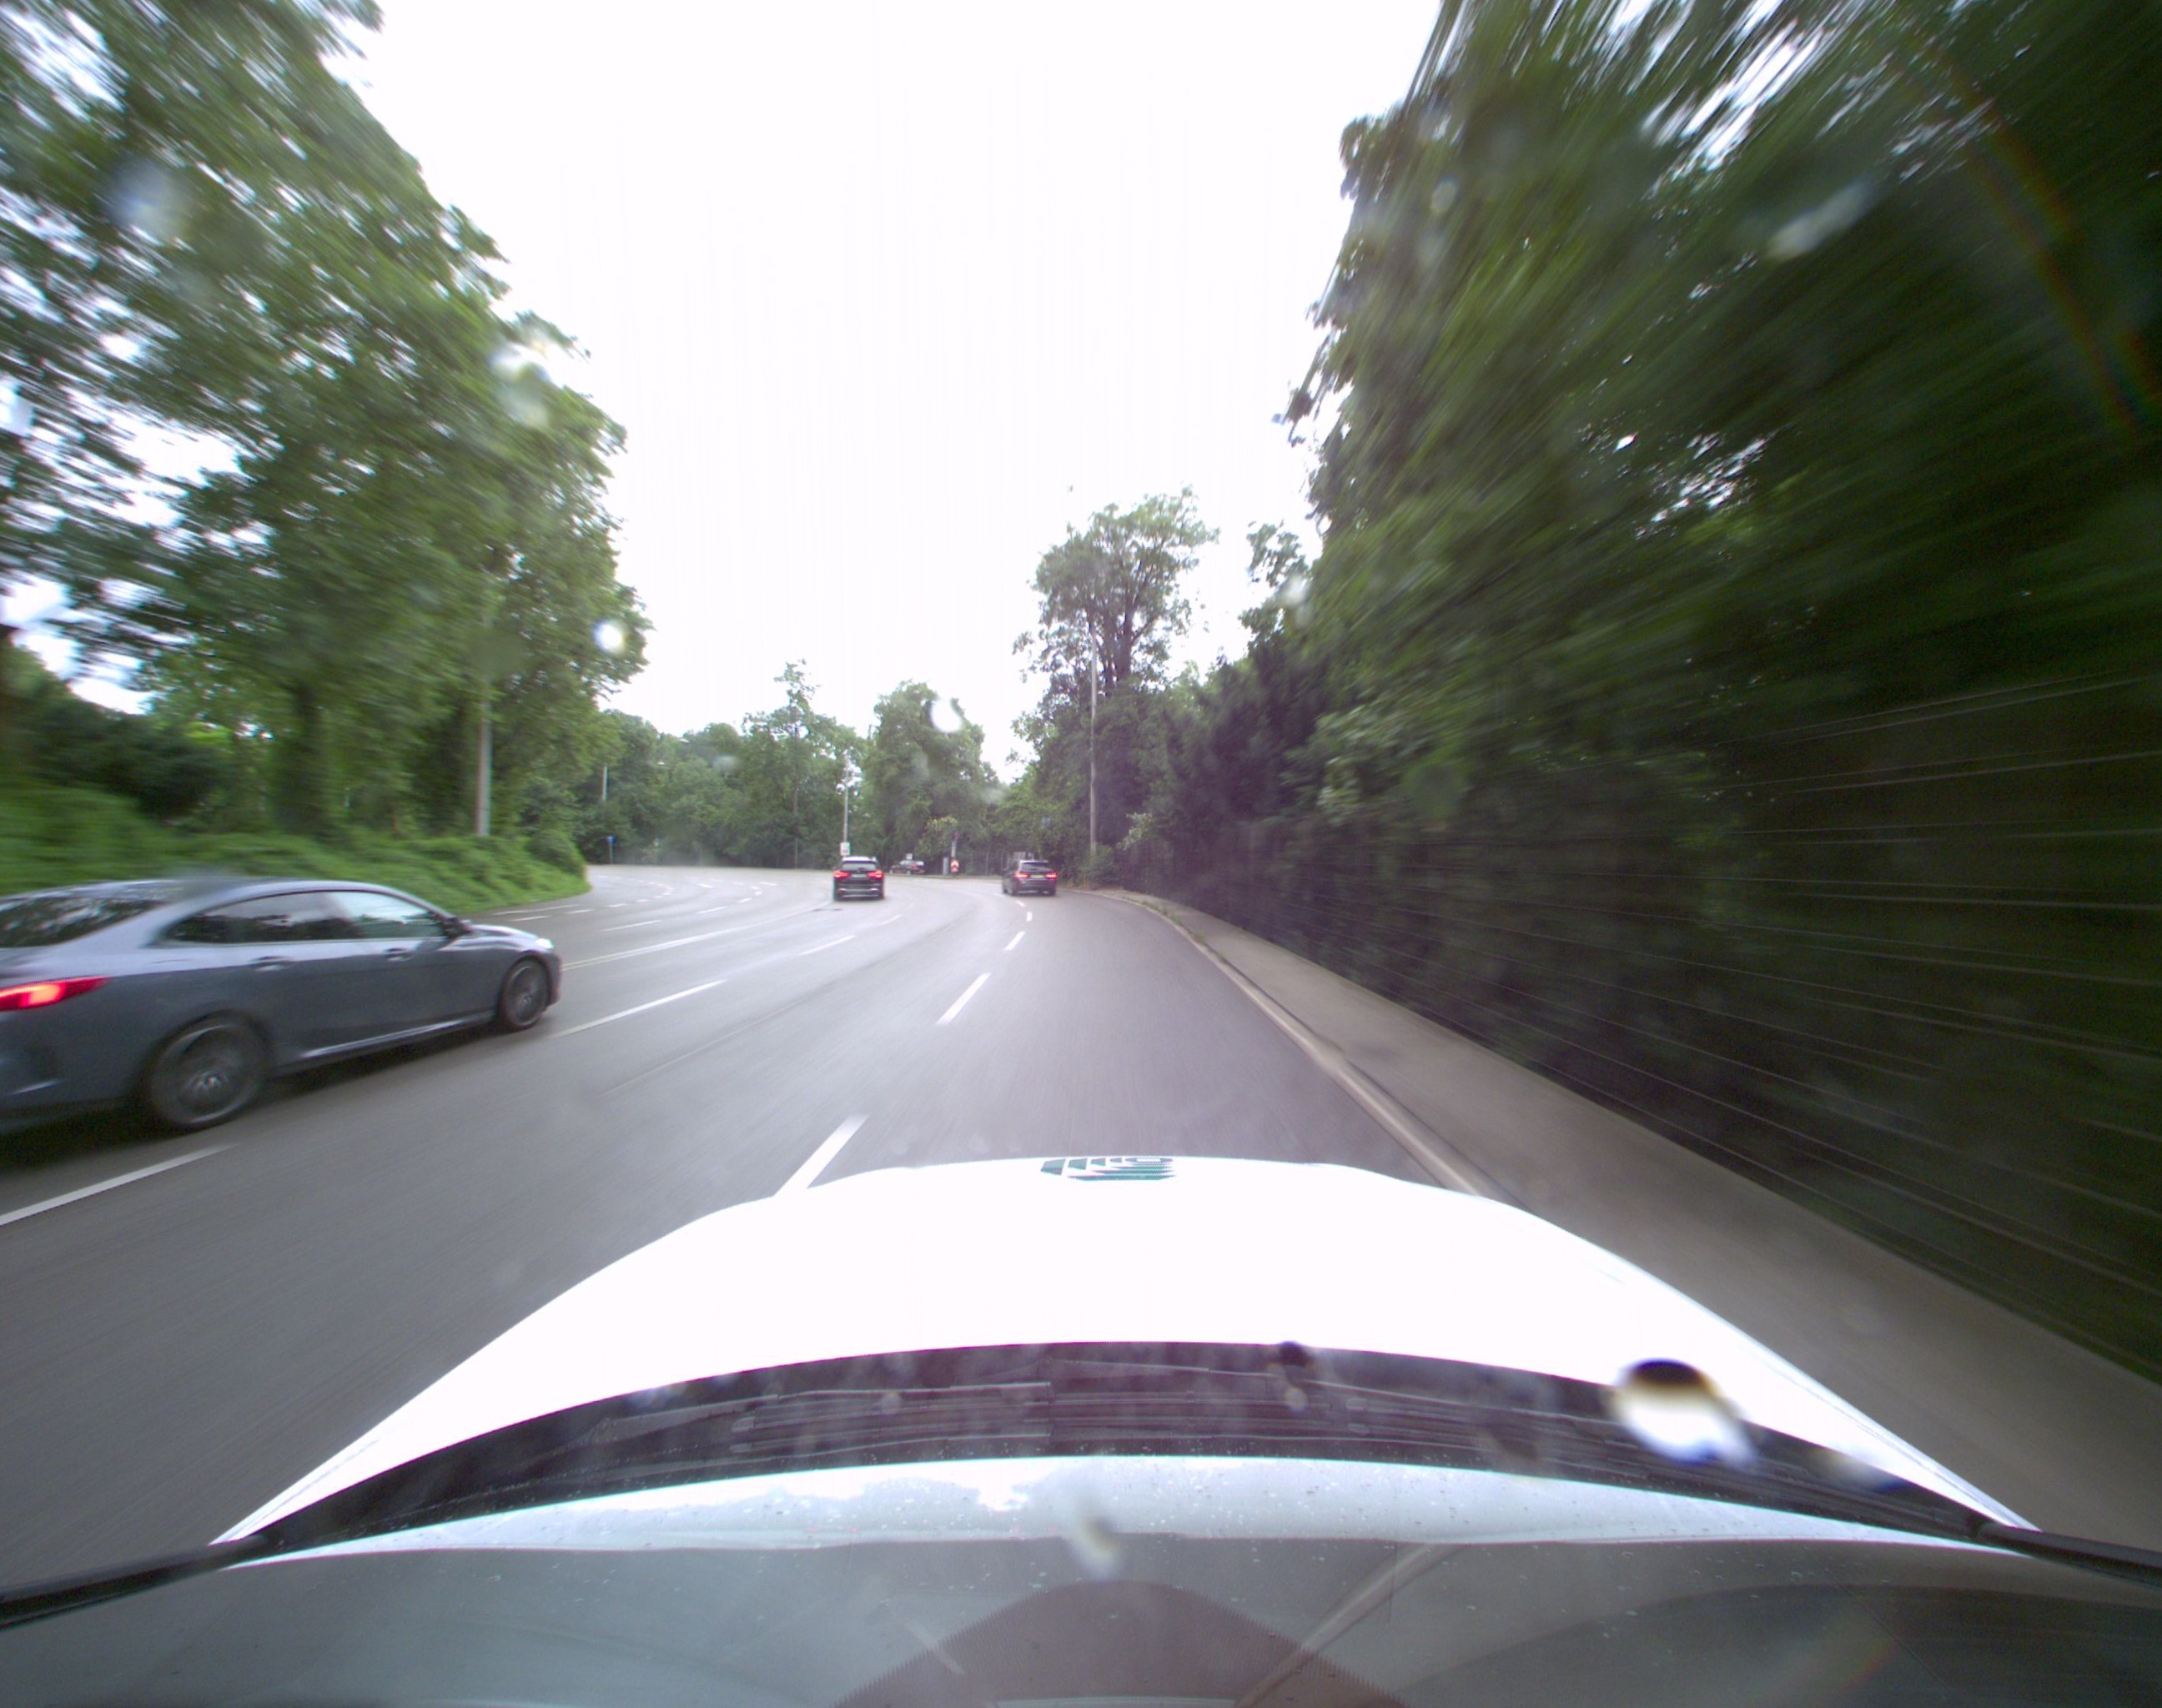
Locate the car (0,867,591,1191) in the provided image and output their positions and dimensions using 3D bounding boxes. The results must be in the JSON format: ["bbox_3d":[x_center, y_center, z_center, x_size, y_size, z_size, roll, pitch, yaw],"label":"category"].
[{"bbox_3d":[-5.750,0.836,5.840,1.659,1.415,4.540,0,0,1],"label":"car"}]

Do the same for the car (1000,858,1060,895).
[{"bbox_3d":[-2.196,0.880,33.867,1.759,1.432,4.392,-1,0,-13],"label":"car"}]

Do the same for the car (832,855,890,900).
[{"bbox_3d":[-8.520,0.848,31.866,1.758,1.586,4.397,2,0,-10],"label":"car"}]

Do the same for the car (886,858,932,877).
[{"bbox_3d":[-14.965,1.166,70.807,4.316,1.427,1.702,1,-4,44],"label":"car"}]
